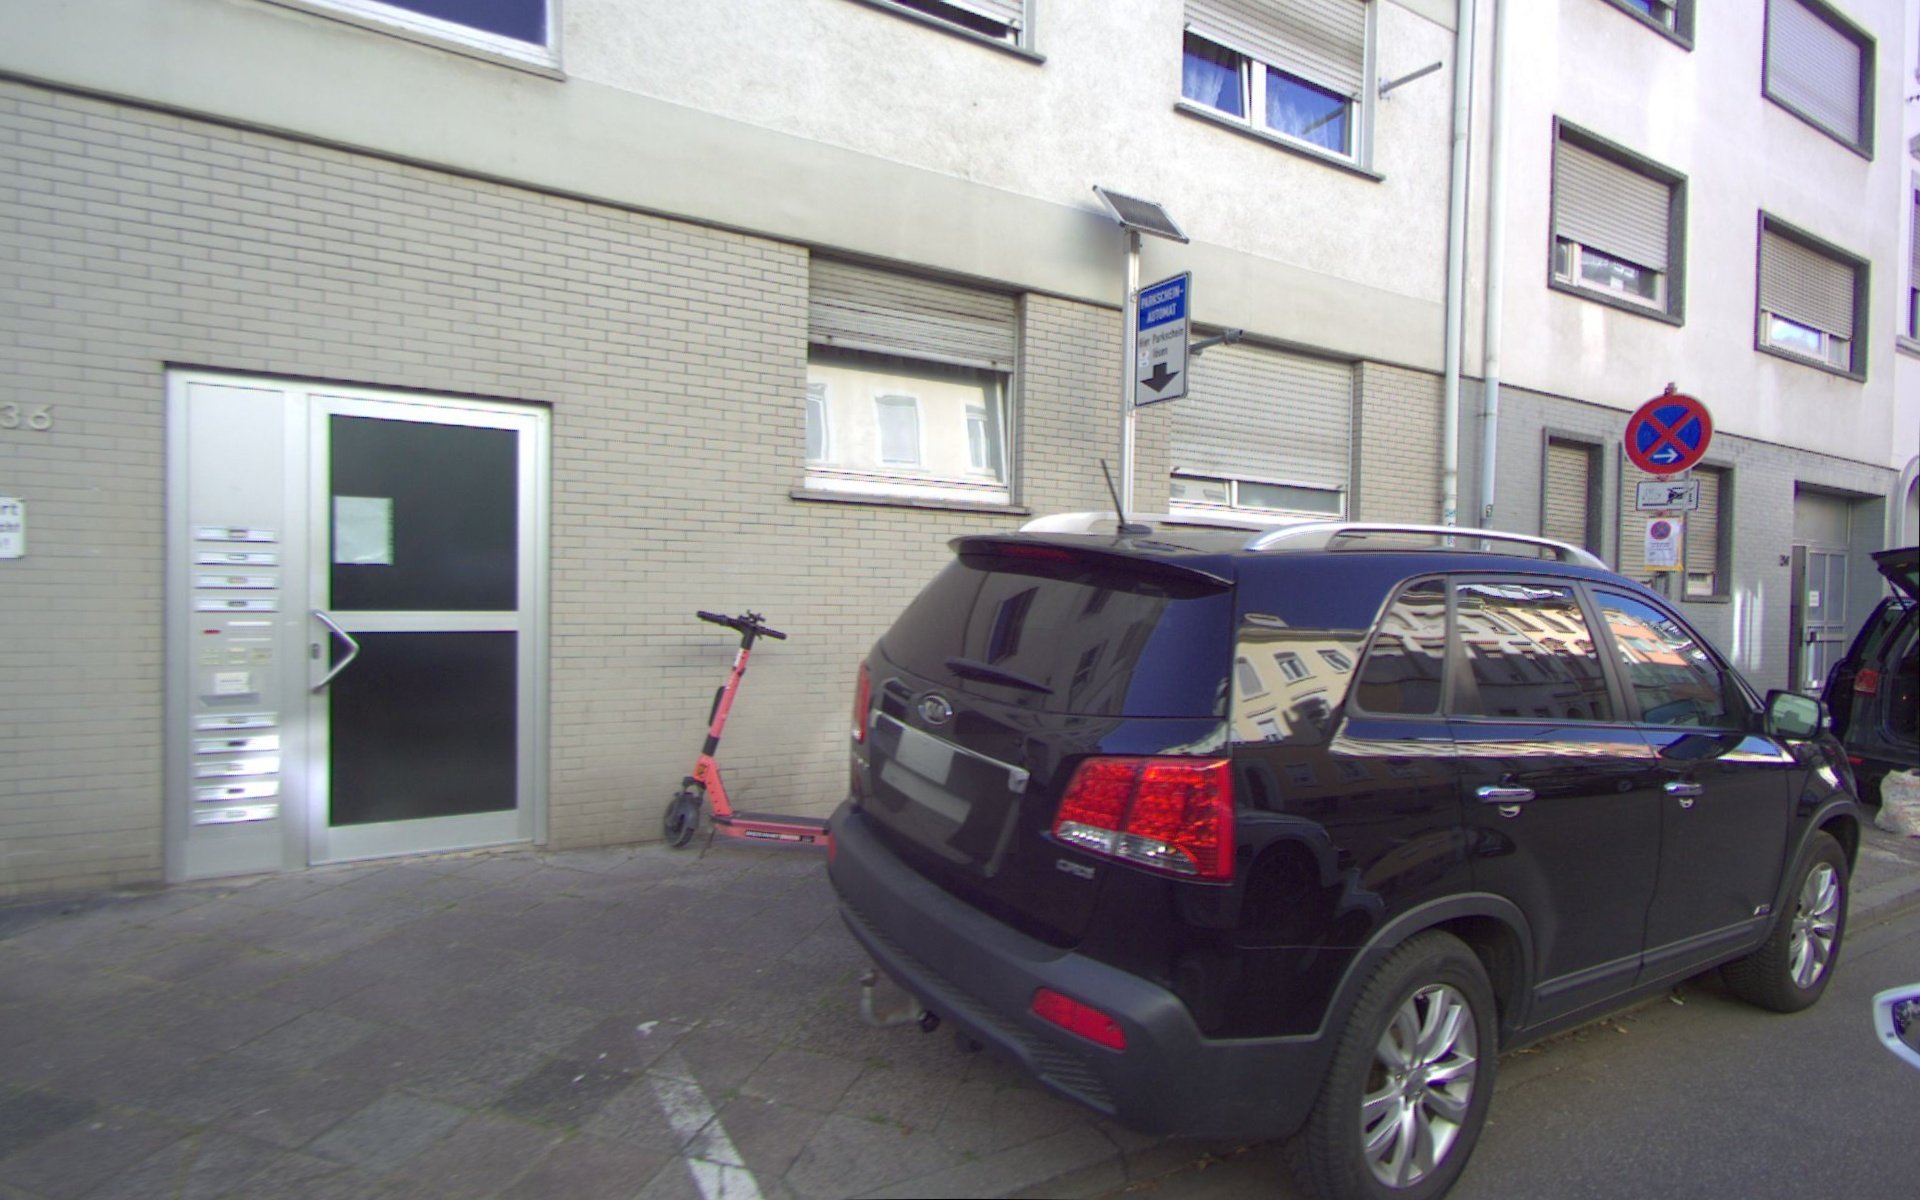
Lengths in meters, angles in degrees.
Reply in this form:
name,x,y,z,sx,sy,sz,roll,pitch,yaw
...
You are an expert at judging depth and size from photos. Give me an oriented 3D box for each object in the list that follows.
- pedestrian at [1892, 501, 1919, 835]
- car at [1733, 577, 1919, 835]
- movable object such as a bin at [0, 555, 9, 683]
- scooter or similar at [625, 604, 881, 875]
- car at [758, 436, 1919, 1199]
name,x,y,z,sx,sy,sz,roll,pitch,yaw
pedestrian,6.878,0.471,6.805,0.680,2.258,0.616,2,-1,-30
car,8.757,0.750,7.921,5.180,1.728,2.429,1,1,-30
movable object such as a bin,-11.989,0.224,11.964,0.845,1.547,0.507,1,0,-30
scooter or similar,-1.055,0.677,5.187,1.208,1.295,0.438,1,0,11
car,1.723,0.554,3.788,4.495,1.779,1.868,0,4,-34
